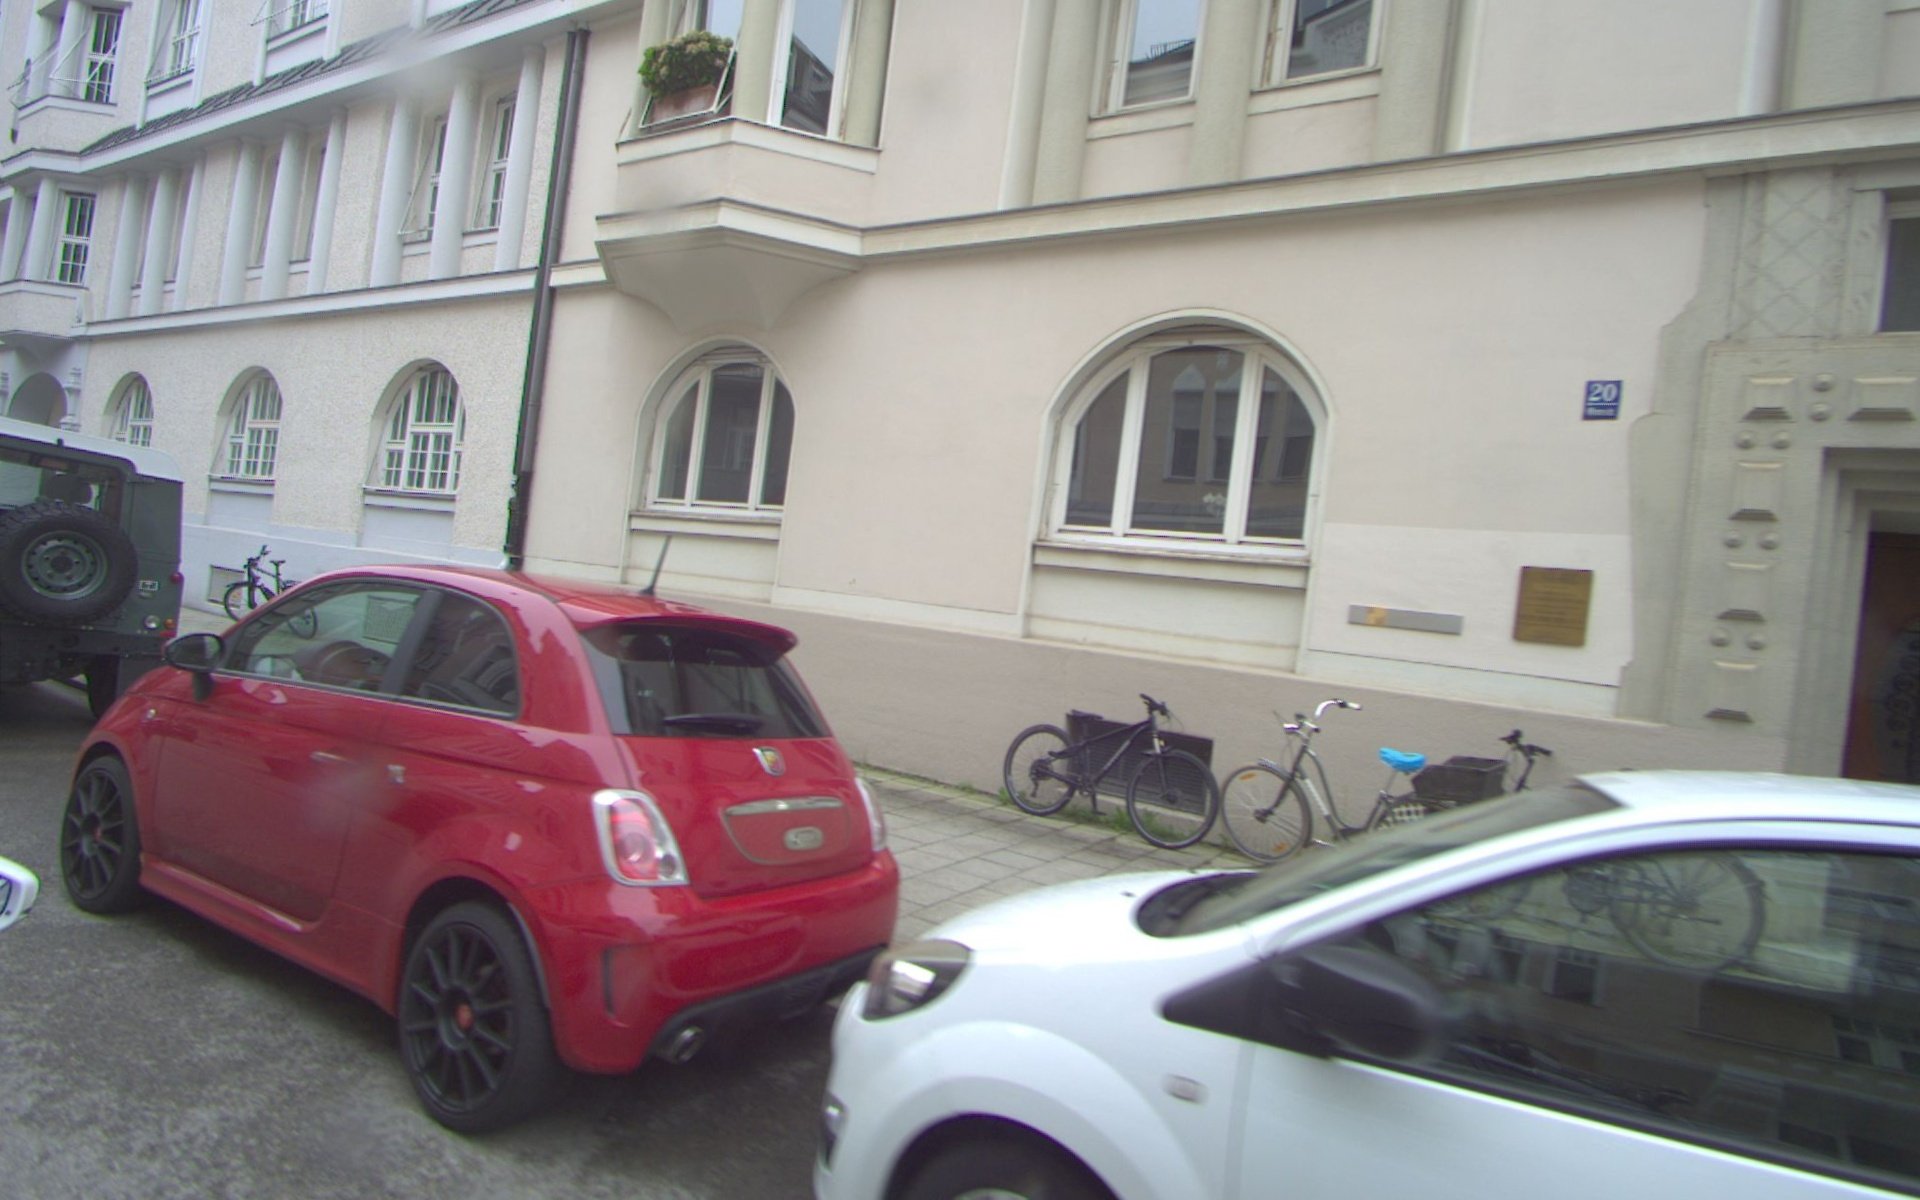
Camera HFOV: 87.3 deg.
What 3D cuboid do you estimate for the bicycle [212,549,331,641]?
[{"bbox_3d":[-9.500,-0.075,13.866,1.759,1.083,0.651,6,2,32],"label":"bicycle"}]

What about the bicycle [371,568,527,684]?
[{"bbox_3d":[-6.083,0.298,11.937,1.935,1.130,0.647,6,-1,32],"label":"bicycle"}]

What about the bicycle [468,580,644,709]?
[{"bbox_3d":[-4.381,0.464,10.861,1.935,1.130,0.642,6,-1,32],"label":"bicycle"}]

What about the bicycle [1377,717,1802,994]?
[{"bbox_3d":[3.569,1.395,5.885,1.935,1.130,0.493,6,-1,32],"label":"bicycle"}]

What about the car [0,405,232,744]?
[{"bbox_3d":[-7.423,-0.299,7.413,4.004,2.063,1.799,6,-2,32],"label":"car"}]

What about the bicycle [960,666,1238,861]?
[{"bbox_3d":[0.981,1.121,7.322,1.807,1.060,0.641,6,1,32],"label":"bicycle"}]

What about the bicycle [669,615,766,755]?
[{"bbox_3d":[-2.307,0.757,9.446,0.313,1.130,1.548,8,-2,-31],"label":"bicycle"}]

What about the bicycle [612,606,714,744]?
[{"bbox_3d":[-2.856,0.672,9.590,0.427,1.130,1.587,8,-2,-31],"label":"bicycle"}]

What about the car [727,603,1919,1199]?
[{"bbox_3d":[1.476,1.004,1.949,3.613,1.488,1.497,7,-2,30],"label":"car"}]

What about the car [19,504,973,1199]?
[{"bbox_3d":[-1.890,0.598,3.879,3.445,1.488,1.497,7,-2,30],"label":"car"}]

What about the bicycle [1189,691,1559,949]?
[{"bbox_3d":[2.520,1.270,6.230,1.935,1.130,0.642,6,-1,32],"label":"bicycle"}]
